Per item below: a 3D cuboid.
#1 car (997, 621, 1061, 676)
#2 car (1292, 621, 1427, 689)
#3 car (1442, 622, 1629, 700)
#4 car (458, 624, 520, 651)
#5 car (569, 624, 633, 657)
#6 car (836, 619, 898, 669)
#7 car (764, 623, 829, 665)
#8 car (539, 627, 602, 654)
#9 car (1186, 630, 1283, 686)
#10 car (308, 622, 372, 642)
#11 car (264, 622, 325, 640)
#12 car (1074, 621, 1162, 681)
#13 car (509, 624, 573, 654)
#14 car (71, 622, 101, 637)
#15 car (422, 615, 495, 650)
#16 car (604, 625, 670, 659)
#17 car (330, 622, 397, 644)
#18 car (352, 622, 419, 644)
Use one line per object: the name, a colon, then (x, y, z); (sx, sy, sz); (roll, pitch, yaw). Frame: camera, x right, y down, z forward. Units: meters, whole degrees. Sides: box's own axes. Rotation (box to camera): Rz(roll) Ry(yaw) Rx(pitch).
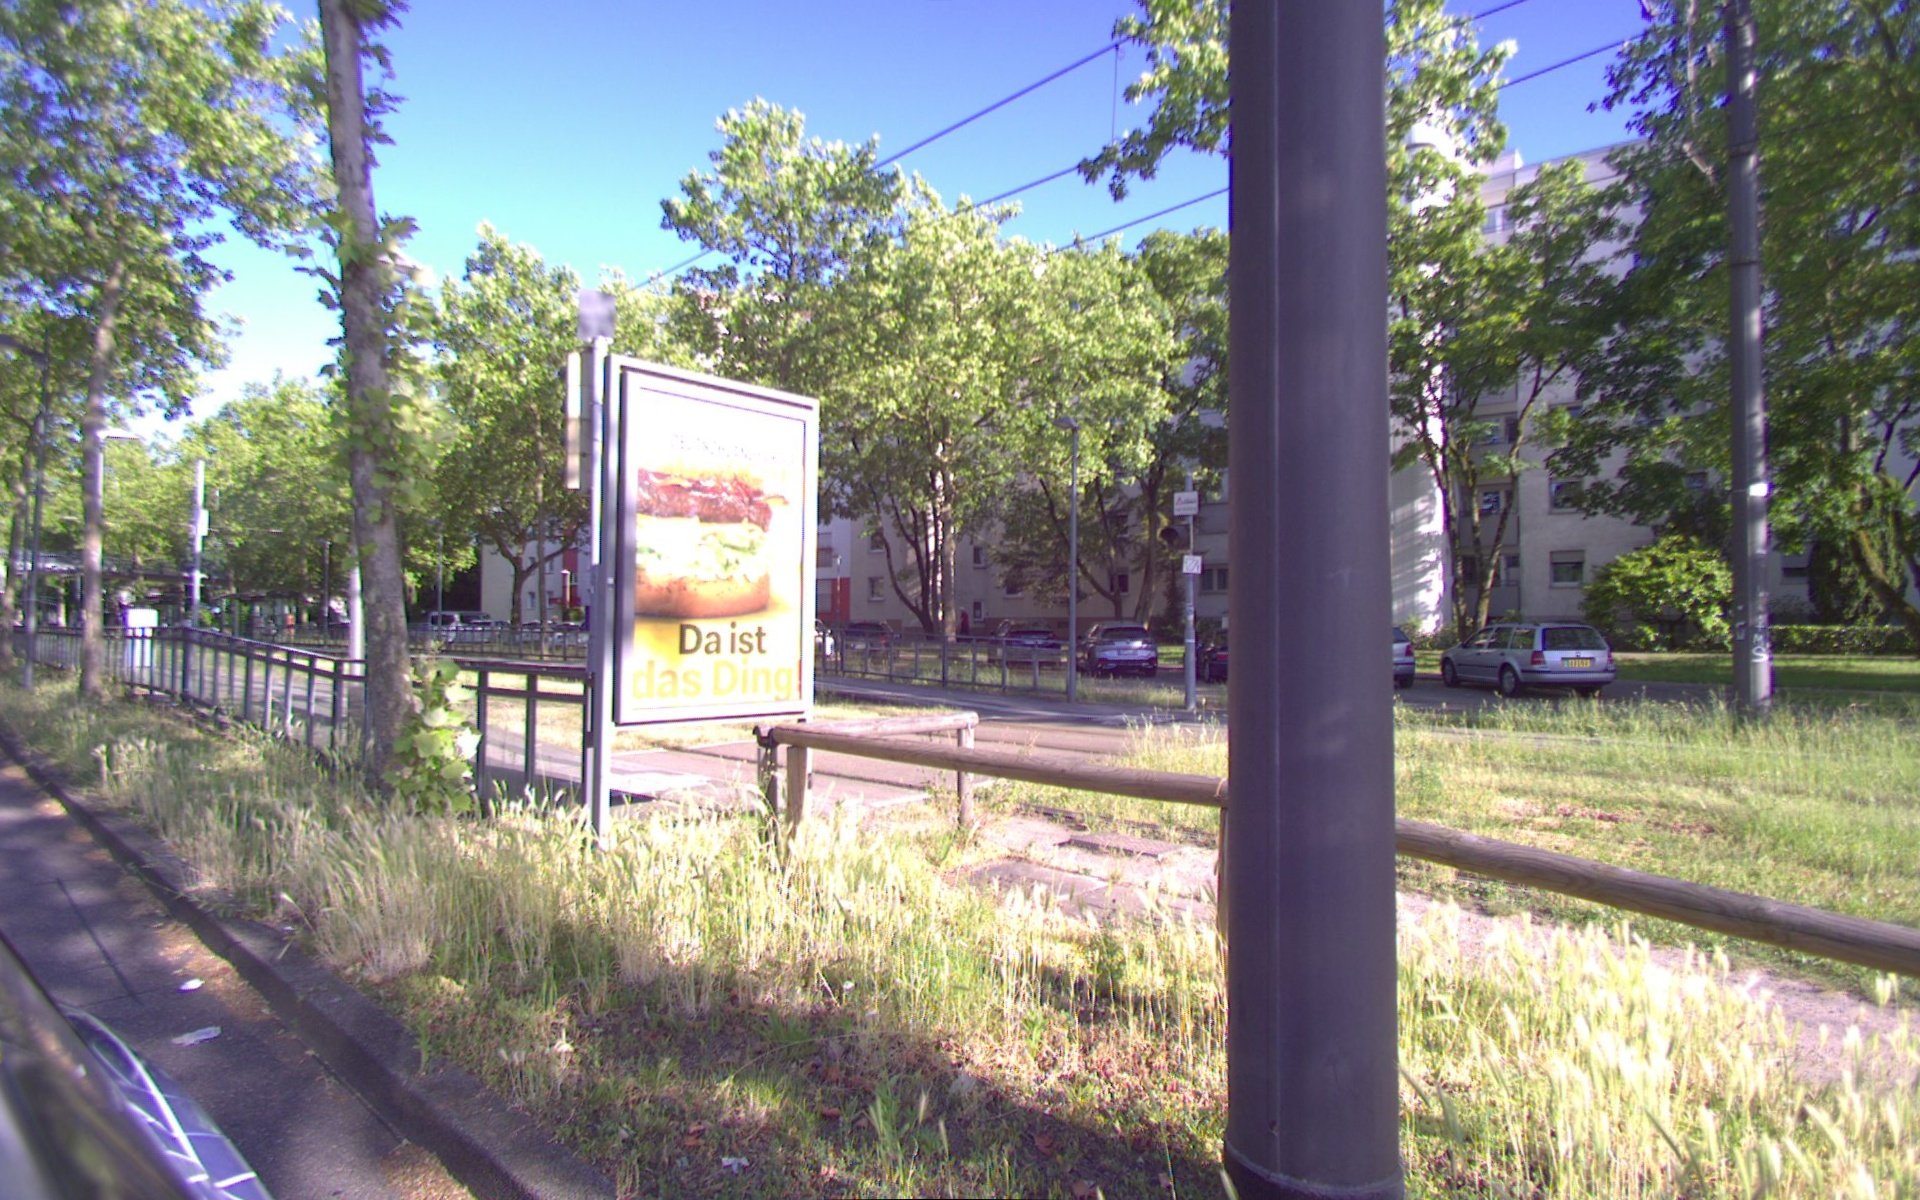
car: (1.941, 1.362, 29.445); (1.664, 1.482, 3.680); (0, -1, 1)
car: (9.161, 1.214, 23.526); (1.679, 1.444, 3.681); (0, -1, 1)
car: (11.555, 1.171, 20.627); (1.707, 1.444, 3.681); (0, -1, 1)
car: (-25.789, 2.028, 55.519); (1.627, 1.407, 3.680); (0, -1, 1)
car: (-16.673, 1.836, 47.136); (1.627, 1.460, 3.680); (0, -1, 1)
car: (-3.099, 1.452, 34.467); (1.664, 1.579, 3.679); (0, -1, 2)
car: (-5.901, 1.565, 36.917); (1.664, 1.444, 3.679); (0, -1, 2)
car: (-19.037, 1.973, 49.666); (1.627, 1.251, 3.680); (0, -1, 1)
car: (6.737, 1.395, 25.206); (1.602, 1.256, 3.677); (0, -1, 4)
car: (-44.635, 2.273, 72.985); (1.898, 1.386, 4.365); (0, -1, 1)
car: (-52.136, 2.395, 79.366); (1.898, 1.386, 4.365); (0, -1, 1)
car: (4.214, 1.340, 27.492); (1.894, 1.507, 3.680); (0, -1, 2)
car: (-21.115, 1.952, 51.134); (1.627, 1.460, 3.680); (0, -1, 1)
car: (-94.146, 3.204, 108.950); (4.366, 1.586, 1.898); (-1, -2, 42)
car: (-28.318, 1.818, 57.328); (1.898, 1.898, 4.365); (0, -1, 1)
car: (-14.074, 1.813, 44.280); (1.627, 1.403, 3.679); (0, -1, 2)
car: (-40.273, 2.196, 68.392); (1.898, 1.386, 4.365); (0, -1, 1)
car: (-37.773, 2.147, 66.664); (1.898, 1.386, 4.365); (0, -1, 1)
